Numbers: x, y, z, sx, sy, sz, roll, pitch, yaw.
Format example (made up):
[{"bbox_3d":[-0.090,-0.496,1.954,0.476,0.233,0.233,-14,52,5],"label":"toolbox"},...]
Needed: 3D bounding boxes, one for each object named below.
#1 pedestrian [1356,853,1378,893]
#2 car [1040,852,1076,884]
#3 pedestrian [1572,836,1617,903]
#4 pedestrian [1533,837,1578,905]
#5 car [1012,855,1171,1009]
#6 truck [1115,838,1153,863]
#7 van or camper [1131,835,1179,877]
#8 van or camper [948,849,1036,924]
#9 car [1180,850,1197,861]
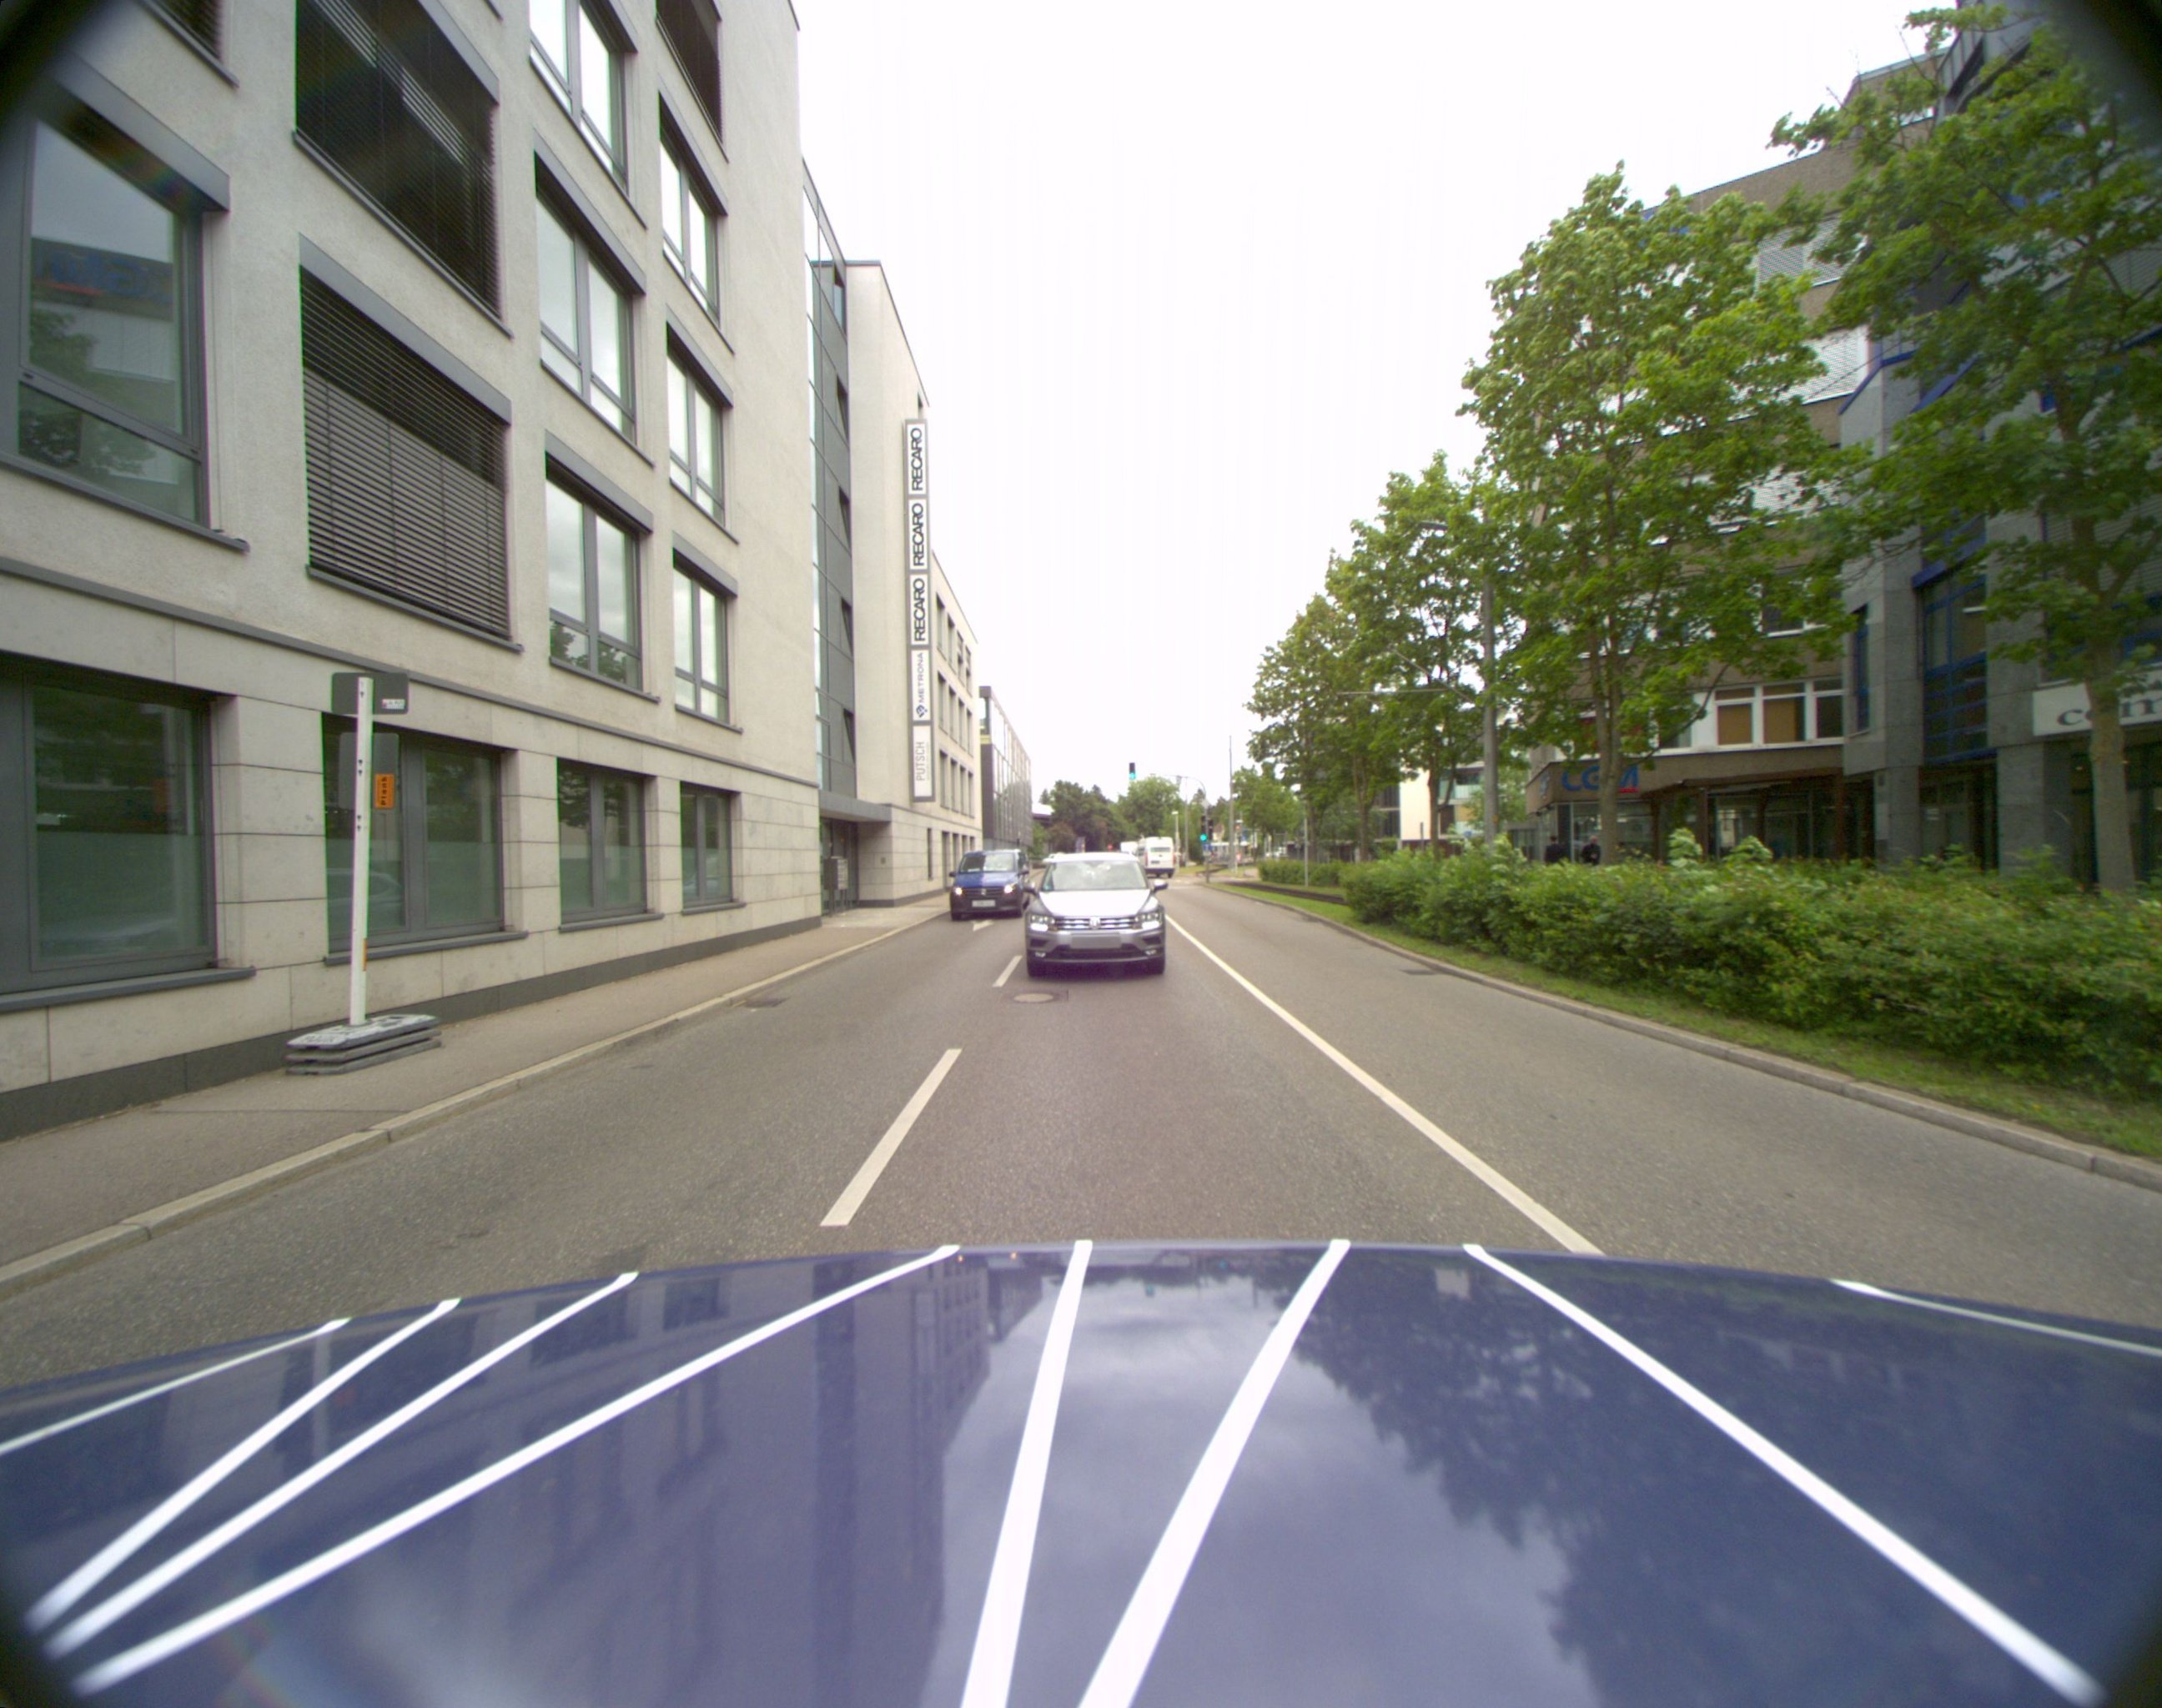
[{"bbox_3d":[13.362,0.879,35.476,0.680,1.795,0.731,-2,1,-4],"label":"pedestrian"},{"bbox_3d":[-1.422,0.843,48.086,1.998,1.805,4.000,-2,1,1],"label":"car"},{"bbox_3d":[14.769,0.439,21.877,0.776,1.883,0.731,-2,1,-1],"label":"pedestrian"},{"bbox_3d":[13.677,0.470,21.919,0.816,1.912,0.731,-2,1,0],"label":"pedestrian"},{"bbox_3d":[0.154,0.904,11.000,1.798,1.716,4.458,-1,0,1],"label":"car"},{"bbox_3d":[8.054,-0.563,114.371,2.317,3.626,8.024,-1,1,31],"label":"truck"},{"bbox_3d":[5.105,0.089,53.606,2.114,2.718,6.147,-2,1,-6],"label":"van or camper"},{"bbox_3d":[-2.431,0.834,22.071,1.864,1.900,5.032,-1,0,1],"label":"van or camper"},{"bbox_3d":[20.352,0.241,144.360,1.995,2.002,4.006,-1,1,26],"label":"car"}]
